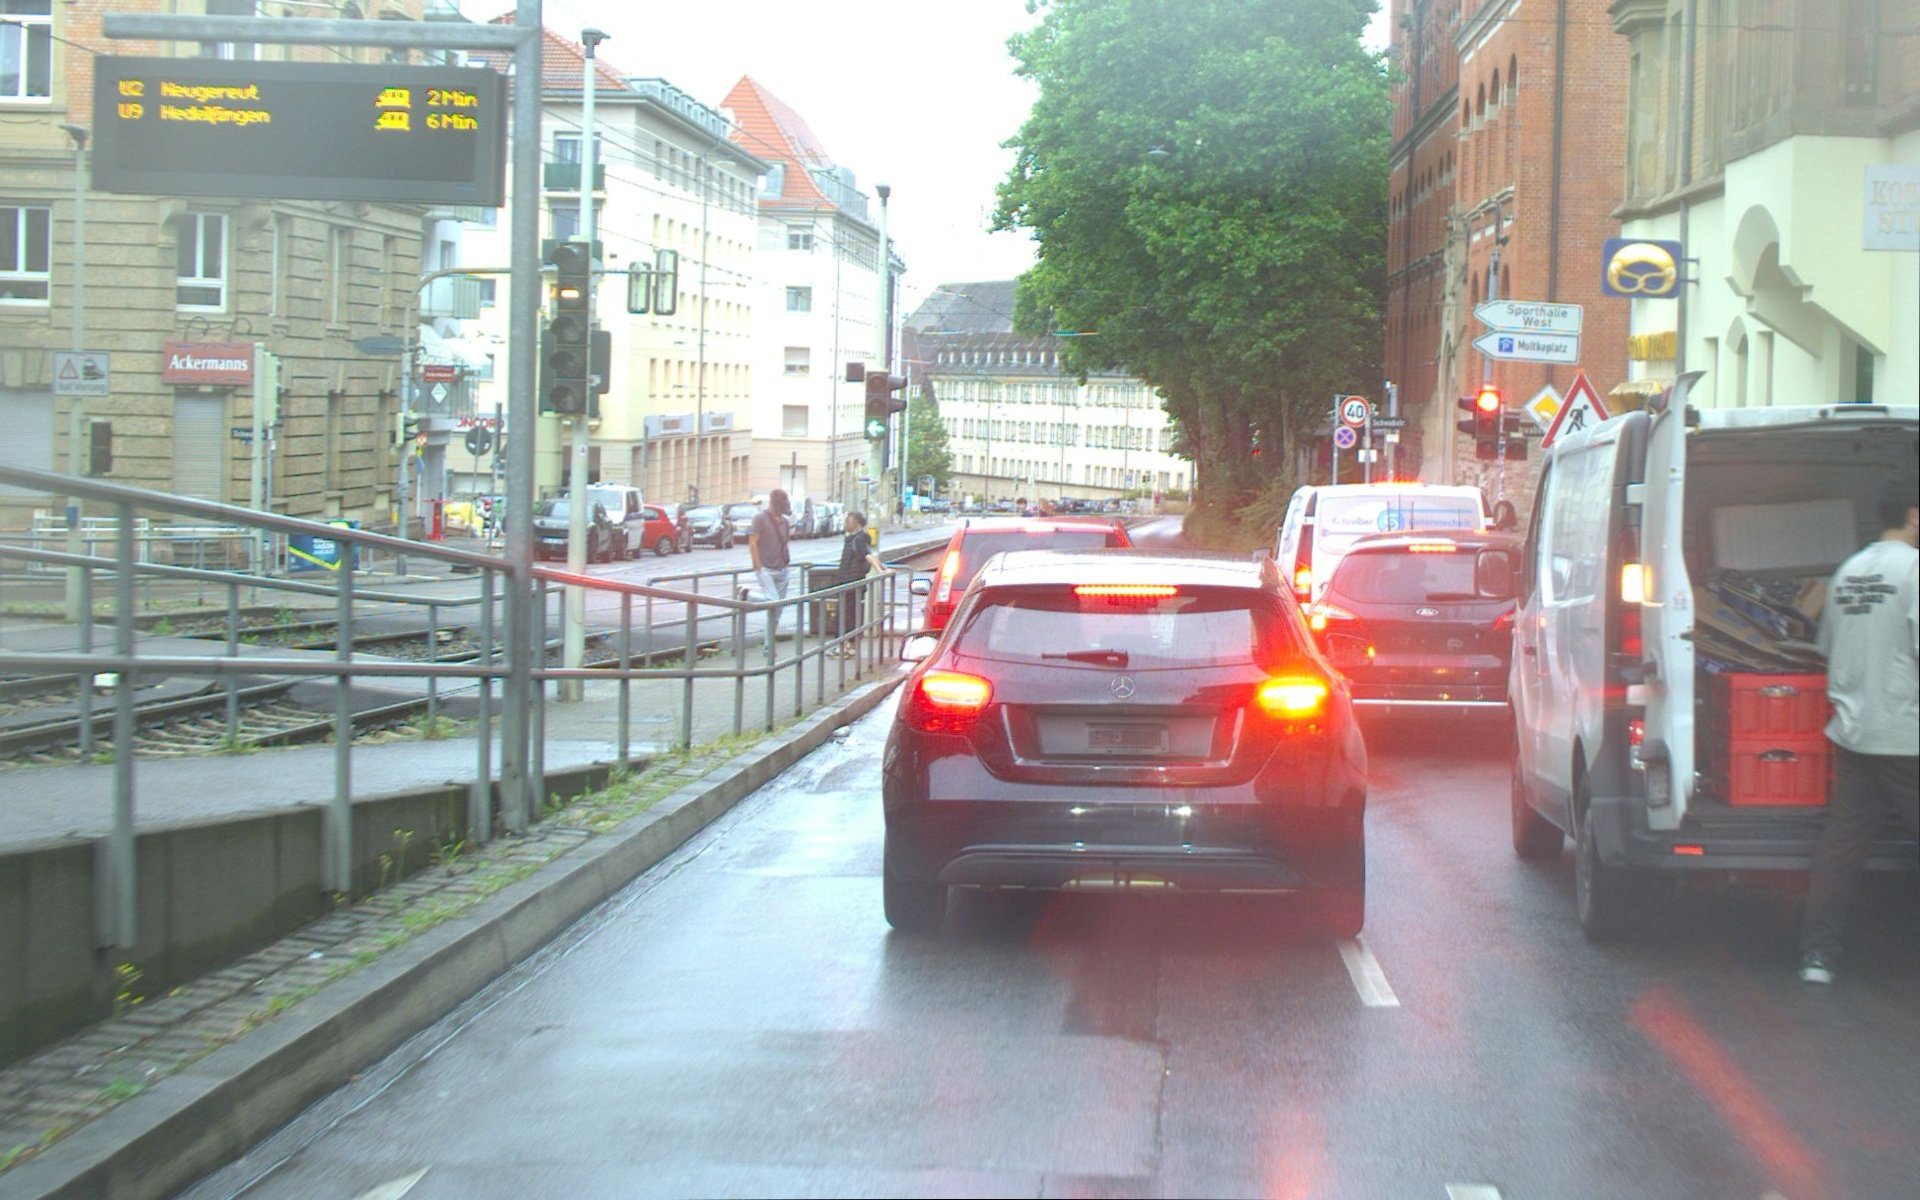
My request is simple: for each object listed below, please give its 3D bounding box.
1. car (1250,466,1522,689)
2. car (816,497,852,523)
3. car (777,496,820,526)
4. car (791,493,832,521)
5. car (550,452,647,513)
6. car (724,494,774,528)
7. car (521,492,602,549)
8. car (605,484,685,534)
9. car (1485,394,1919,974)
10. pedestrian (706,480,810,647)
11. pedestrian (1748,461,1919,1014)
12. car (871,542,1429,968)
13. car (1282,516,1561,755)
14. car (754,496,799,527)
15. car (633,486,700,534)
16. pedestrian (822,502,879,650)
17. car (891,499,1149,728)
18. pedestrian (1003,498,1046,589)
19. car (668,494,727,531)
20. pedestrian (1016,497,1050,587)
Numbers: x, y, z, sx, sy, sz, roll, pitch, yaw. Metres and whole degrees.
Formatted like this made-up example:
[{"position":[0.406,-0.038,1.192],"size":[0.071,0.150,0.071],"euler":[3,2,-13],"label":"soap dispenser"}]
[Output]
[{"position":[3.798,-0.255,31.335],"size":[1.933,1.825,4.281],"euler":[2,2,1],"label":"car"},{"position":[-5.992,-4.299,163.780],"size":[1.395,1.167,3.161],"euler":[2,2,4],"label":"car"},{"position":[-6.660,-3.677,142.107],"size":[1.395,1.167,3.161],"euler":[2,2,4],"label":"car"},{"position":[-6.528,-4.081,151.226],"size":[1.395,1.167,3.161],"euler":[2,2,4],"label":"car"},{"position":[-9.604,-3.106,91.671],"size":[1.786,1.524,4.462],"euler":[2,2,4],"label":"car"},{"position":[-7.621,-3.221,124.365],"size":[1.395,1.167,3.161],"euler":[2,2,4],"label":"car"},{"position":[-9.878,-1.989,85.348],"size":[1.452,1.314,3.295],"euler":[3,2,2],"label":"car"},{"position":[-9.000,-2.602,98.475],"size":[1.680,1.351,3.703],"euler":[2,2,4],"label":"car"},{"position":[3.311,0.245,13.959],"size":[1.921,1.929,4.685],"euler":[2,1,4],"label":"car"},{"position":[-2.124,-0.383,36.081],"size":[0.739,1.718,0.741],"euler":[1,2,-40],"label":"pedestrian"},{"position":[3.085,0.427,11.333],"size":[0.686,1.748,0.835],"euler":[2,1,32],"label":"pedestrian"},{"position":[0.803,0.504,13.961],"size":[1.895,1.385,4.000],"euler":[2,2,4],"label":"car"},{"position":[3.269,0.176,24.126],"size":[1.714,1.464,4.279],"euler":[2,2,9],"label":"car"},{"position":[-7.226,-3.488,135.556],"size":[1.395,1.167,3.161],"euler":[2,2,4],"label":"car"},{"position":[-8.740,-2.676,102.539],"size":[1.500,1.351,3.161],"euler":[2,2,4],"label":"car"},{"position":[-1.146,-0.252,35.944],"size":[0.531,1.525,0.436],"euler":[2,1,-4],"label":"pedestrian"},{"position":[0.444,0.035,24.647],"size":[1.680,1.484,3.613],"euler":[1,2,1],"label":"car"},{"position":[1.200,-1.053,63.848],"size":[0.679,1.655,0.676],"euler":[1,1,10],"label":"pedestrian"},{"position":[-8.452,-2.827,111.035],"size":[1.437,1.102,3.161],"euler":[2,2,4],"label":"car"},{"position":[1.384,-1.104,65.211],"size":[0.518,1.660,0.476],"euler":[3,2,7],"label":"pedestrian"}]
